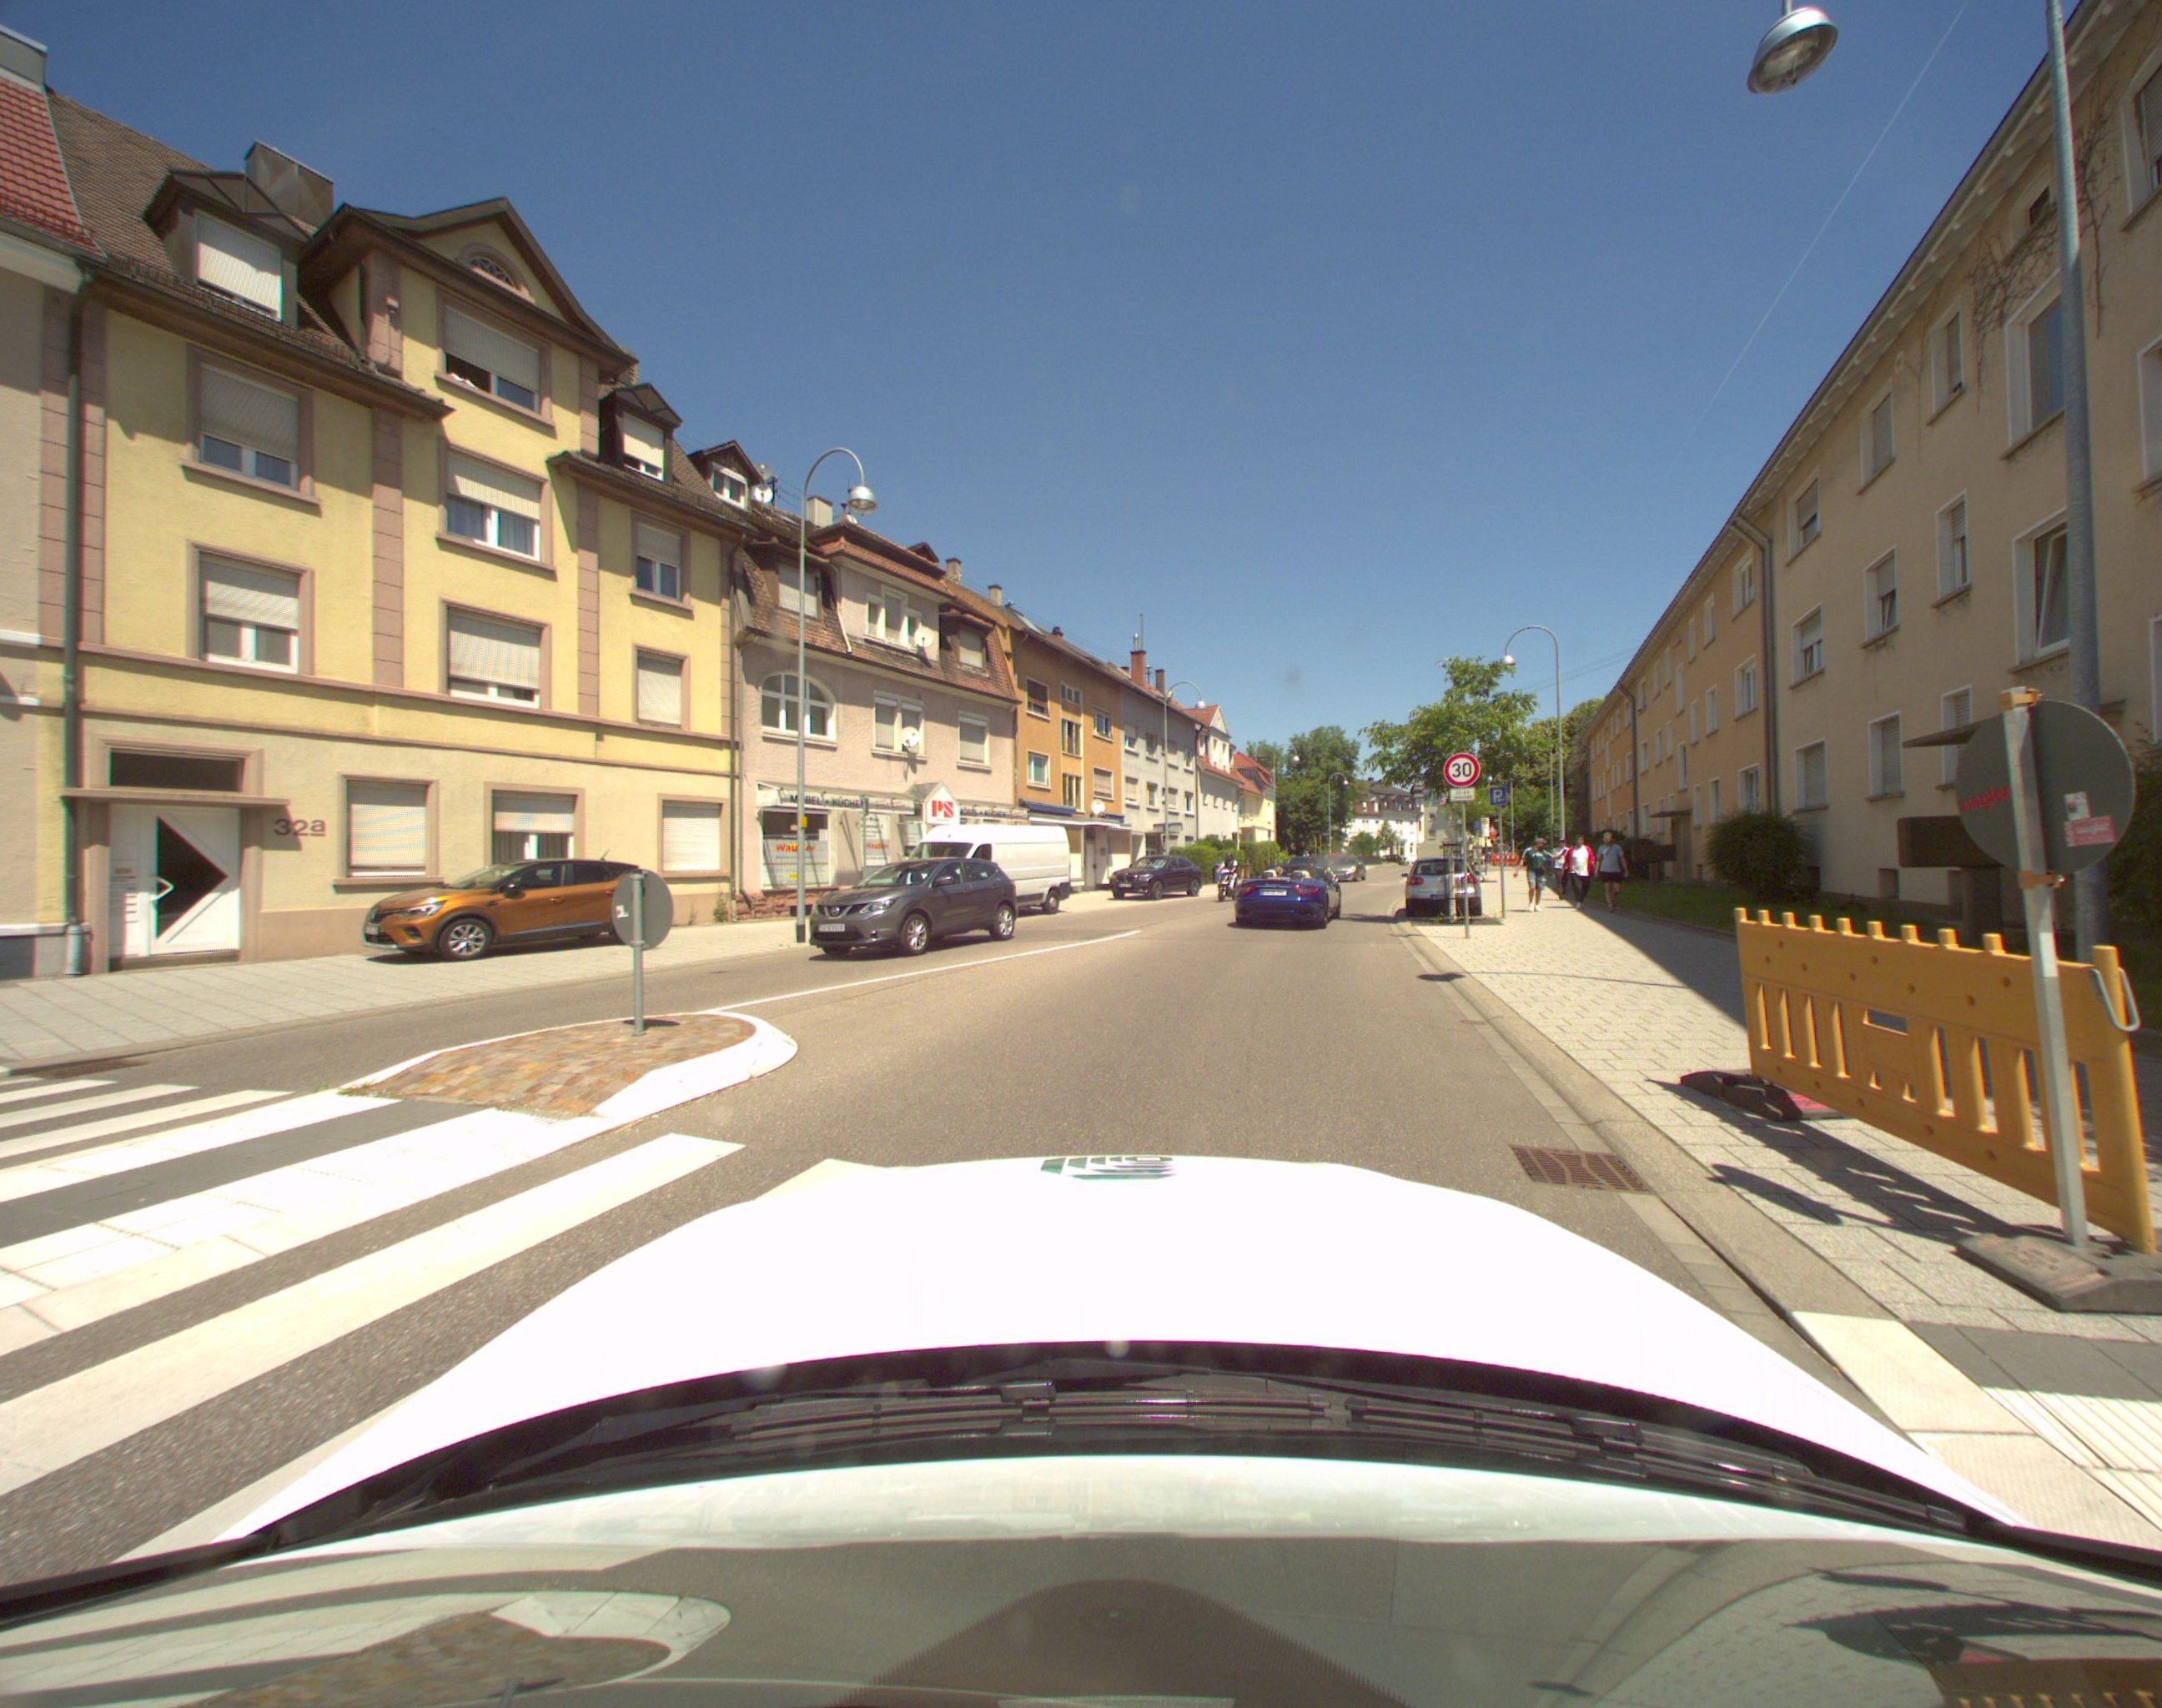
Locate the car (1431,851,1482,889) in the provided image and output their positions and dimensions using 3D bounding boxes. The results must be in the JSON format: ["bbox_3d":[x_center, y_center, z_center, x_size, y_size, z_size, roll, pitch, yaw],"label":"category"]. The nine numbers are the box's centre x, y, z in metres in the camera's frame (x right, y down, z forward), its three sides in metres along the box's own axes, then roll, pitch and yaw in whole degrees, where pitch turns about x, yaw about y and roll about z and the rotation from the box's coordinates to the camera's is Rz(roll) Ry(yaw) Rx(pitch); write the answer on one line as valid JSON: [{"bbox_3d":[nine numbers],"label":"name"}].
[{"bbox_3d":[16.708,0.647,36.130,1.816,1.504,5.093,-3,-1,26],"label":"car"}]

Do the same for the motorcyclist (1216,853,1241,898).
[{"bbox_3d":[5.122,0.727,28.252,0.596,1.525,0.901,-2,-1,29],"label":"motorcyclist"}]

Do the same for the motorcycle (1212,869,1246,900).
[{"bbox_3d":[5.137,1.040,28.240,0.600,1.000,1.810,-2,-1,29],"label":"motorcycle"}]

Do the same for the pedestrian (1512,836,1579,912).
[{"bbox_3d":[11.258,0.482,19.799,1.161,1.733,1.198,-4,-2,22],"label":"pedestrian"}]

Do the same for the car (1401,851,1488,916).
[{"bbox_3d":[9.397,0.739,21.224,1.797,1.477,4.531,-2,-2,23],"label":"car"}]

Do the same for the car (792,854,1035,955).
[{"bbox_3d":[-2.722,0.815,14.341,1.779,1.489,4.416,-3,-2,27],"label":"car"}]

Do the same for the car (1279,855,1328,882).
[{"bbox_3d":[13.508,0.845,49.368,1.771,1.459,4.224,2,2,31],"label":"car"}]

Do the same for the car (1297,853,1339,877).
[{"bbox_3d":[16.070,0.723,55.063,1.846,1.461,5.338,1,1,26],"label":"car"}]

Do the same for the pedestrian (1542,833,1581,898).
[{"bbox_3d":[14.079,0.342,23.879,0.813,1.854,0.990,-2,-1,23],"label":"pedestrian"}]

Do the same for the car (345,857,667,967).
[{"bbox_3d":[-9.593,0.841,13.961,1.777,1.541,4.141,0,0,31],"label":"car"}]

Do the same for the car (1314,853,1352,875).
[{"bbox_3d":[18.728,0.708,60.394,1.860,1.479,4.766,2,1,27],"label":"car"}]

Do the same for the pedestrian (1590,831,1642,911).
[{"bbox_3d":[12.254,0.391,18.677,0.786,1.778,1.014,-2,-1,23],"label":"pedestrian"}]

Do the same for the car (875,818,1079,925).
[{"bbox_3d":[-2.514,0.382,21.788,2.099,2.449,6.155,1,0,30],"label":"car"}]

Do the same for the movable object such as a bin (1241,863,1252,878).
[{"bbox_3d":[10.171,1.032,49.997,0.489,0.912,0.710,-2,-1,27],"label":"movable object such as a bin"}]

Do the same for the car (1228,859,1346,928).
[{"bbox_3d":[4.790,0.818,18.432,1.854,1.342,4.621,0,-1,23],"label":"car"}]

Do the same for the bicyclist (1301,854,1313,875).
[{"bbox_3d":[17.837,0.837,64.215,0.775,1.659,0.840,-2,-1,25],"label":"bicyclist"}]

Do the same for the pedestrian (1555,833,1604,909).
[{"bbox_3d":[12.480,0.420,20.416,0.781,1.811,1.011,-4,-2,23],"label":"pedestrian"}]

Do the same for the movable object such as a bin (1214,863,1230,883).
[{"bbox_3d":[7.540,1.005,43.444,0.666,1.048,0.656,-2,-1,26],"label":"movable object such as a bin"}]

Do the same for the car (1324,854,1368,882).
[{"bbox_3d":[15.082,0.785,46.153,1.715,1.412,4.024,-3,-1,27],"label":"car"}]

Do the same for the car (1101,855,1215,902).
[{"bbox_3d":[3.079,0.858,31.519,2.065,1.614,5.141,0,1,36],"label":"car"}]
